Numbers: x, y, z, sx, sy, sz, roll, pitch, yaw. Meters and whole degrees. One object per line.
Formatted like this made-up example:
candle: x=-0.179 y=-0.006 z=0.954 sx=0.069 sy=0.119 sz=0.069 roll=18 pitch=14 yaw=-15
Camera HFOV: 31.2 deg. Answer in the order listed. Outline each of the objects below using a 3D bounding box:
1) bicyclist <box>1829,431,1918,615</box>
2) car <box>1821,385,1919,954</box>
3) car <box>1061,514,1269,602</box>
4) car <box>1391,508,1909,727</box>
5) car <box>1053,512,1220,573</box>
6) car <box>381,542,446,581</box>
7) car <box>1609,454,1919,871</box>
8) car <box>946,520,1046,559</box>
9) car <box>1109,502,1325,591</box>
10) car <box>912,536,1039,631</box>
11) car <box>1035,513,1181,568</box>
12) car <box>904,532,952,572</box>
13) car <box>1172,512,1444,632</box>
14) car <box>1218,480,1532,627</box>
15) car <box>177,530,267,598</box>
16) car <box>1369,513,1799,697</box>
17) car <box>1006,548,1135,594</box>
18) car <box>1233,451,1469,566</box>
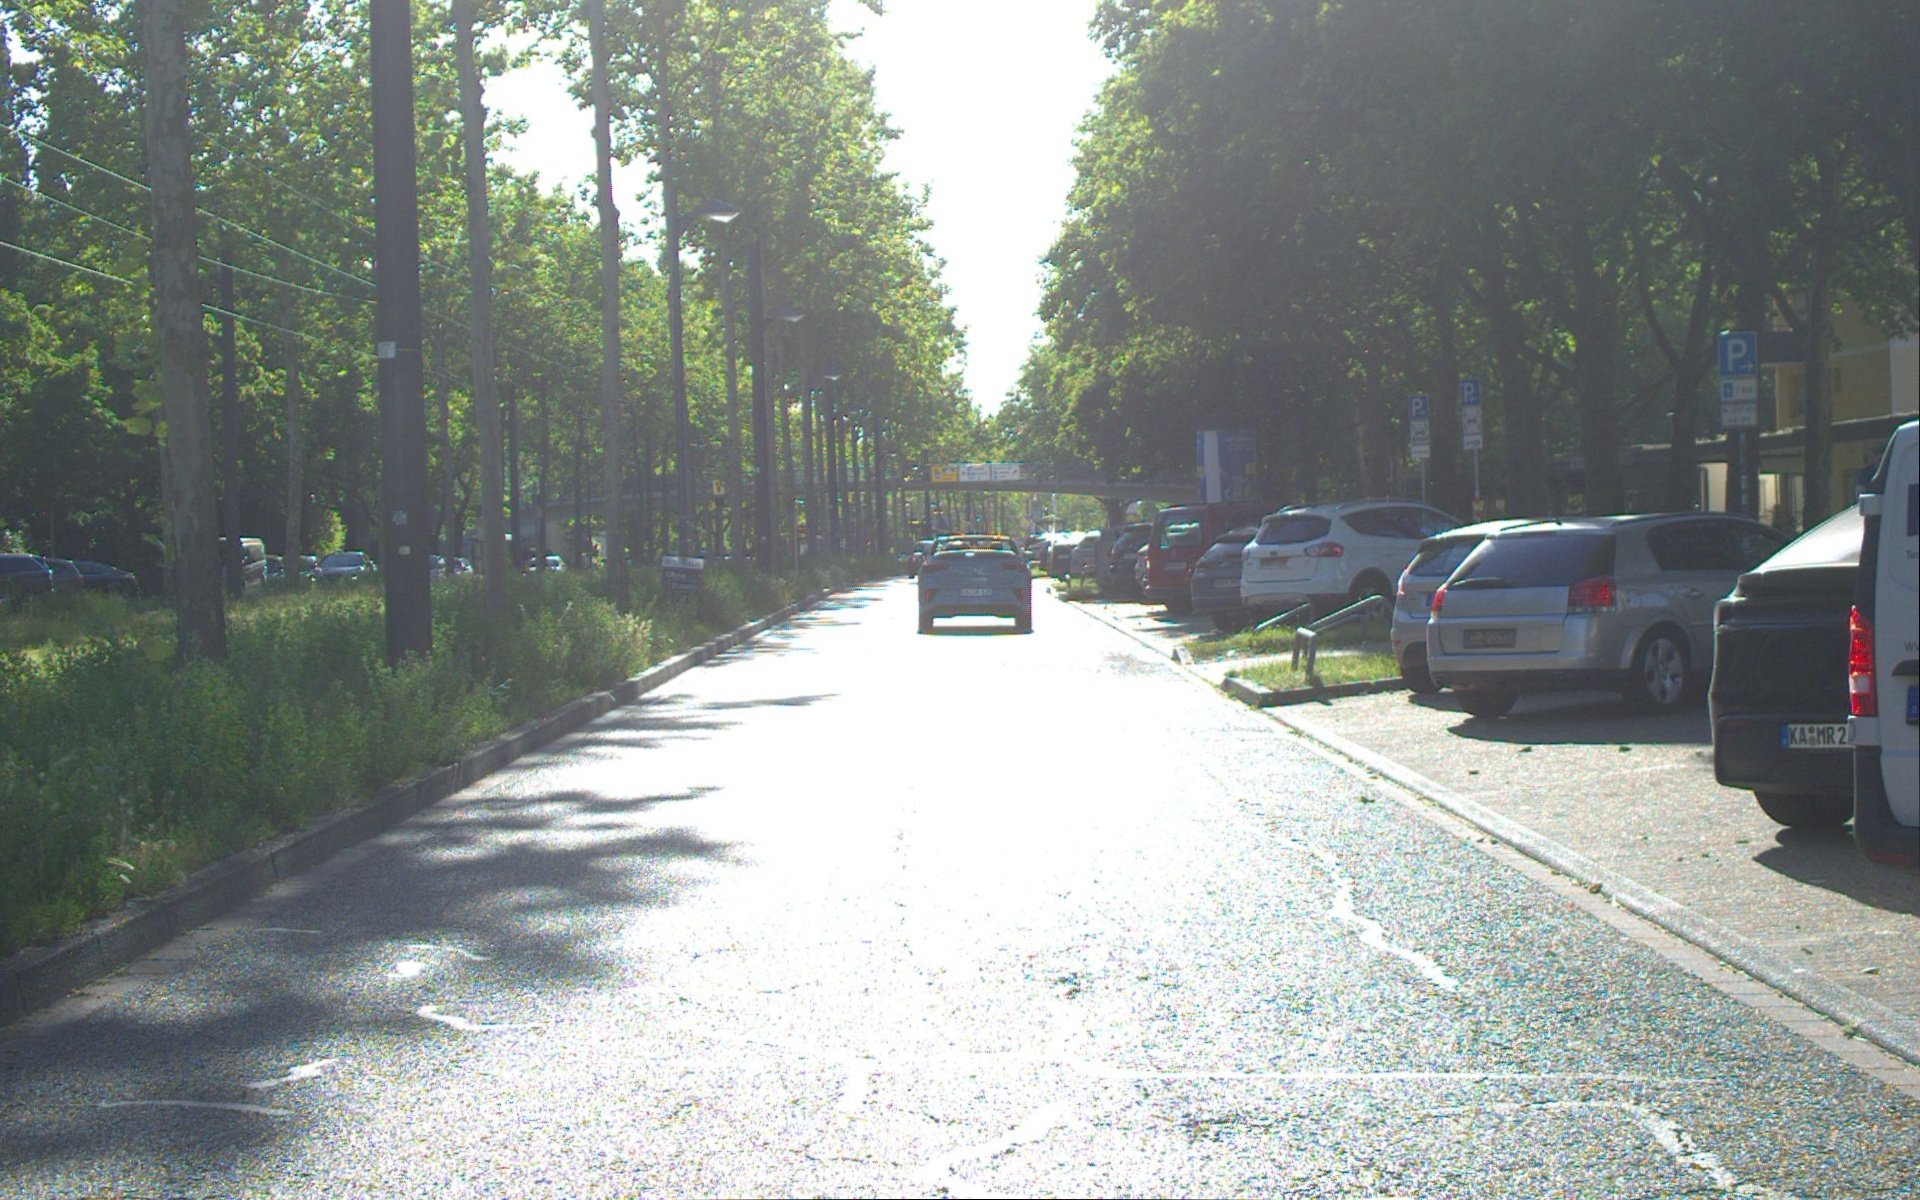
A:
bicyclist: x=8.815 y=-0.750 z=33.197 sx=0.623 sy=1.734 sz=1.023 roll=-1 pitch=2 yaw=4
car: x=5.259 y=0.104 z=12.186 sx=4.658 sy=1.846 sz=1.830 roll=-4 pitch=2 yaw=-40
car: x=4.309 y=-0.891 z=71.878 sx=4.308 sy=1.711 sz=1.635 roll=-2 pitch=2 yaw=-39
car: x=5.310 y=0.097 z=26.159 sx=4.174 sy=1.407 sz=1.719 roll=-4 pitch=2 yaw=-43
car: x=4.783 y=-1.565 z=92.748 sx=4.482 sy=1.438 sz=1.855 roll=-4 pitch=2 yaw=-43
car: x=-23.570 y=-1.673 z=148.455 sx=1.993 sy=1.584 sz=4.168 roll=1 pitch=1 yaw=2
car: x=5.160 y=0.154 z=15.930 sx=4.490 sy=1.699 sz=1.760 roll=-4 pitch=2 yaw=-41
car: x=1.703 y=-2.857 z=161.582 sx=4.611 sy=1.762 sz=1.856 roll=-1 pitch=1 yaw=-42
car: x=5.203 y=-1.088 z=69.515 sx=4.072 sy=1.576 sz=1.781 roll=-4 pitch=1 yaw=-34
car: x=0.222 y=-0.293 z=54.519 sx=1.922 sy=1.406 sz=4.000 roll=-1 pitch=1 yaw=-1
car: x=4.479 y=-1.798 z=103.425 sx=4.318 sy=1.420 sz=1.855 roll=-4 pitch=2 yaw=-43
car: x=-1.267 y=-1.945 z=138.836 sx=1.849 sy=1.530 sz=3.866 roll=-1 pitch=1 yaw=0
car: x=4.870 y=-0.399 z=47.849 sx=3.777 sy=1.465 sz=1.650 roll=-4 pitch=2 yaw=-43
car: x=5.434 y=-0.621 z=44.793 sx=4.017 sy=1.699 sz=1.760 roll=-4 pitch=2 yaw=-41
car: x=-23.517 y=-1.182 z=109.700 sx=1.645 sy=2.086 sz=4.915 roll=1 pitch=1 yaw=2
car: x=5.448 y=0.019 z=29.724 sx=3.928 sy=1.368 sz=1.587 roll=-4 pitch=2 yaw=-43
car: x=3.968 y=-1.046 z=122.505 sx=1.978 sy=1.454 sz=4.613 roll=-1 pitch=1 yaw=44
car: x=6.822 y=-1.601 z=59.816 sx=4.073 sy=1.804 sz=1.650 roll=-4 pitch=1 yaw=-40
